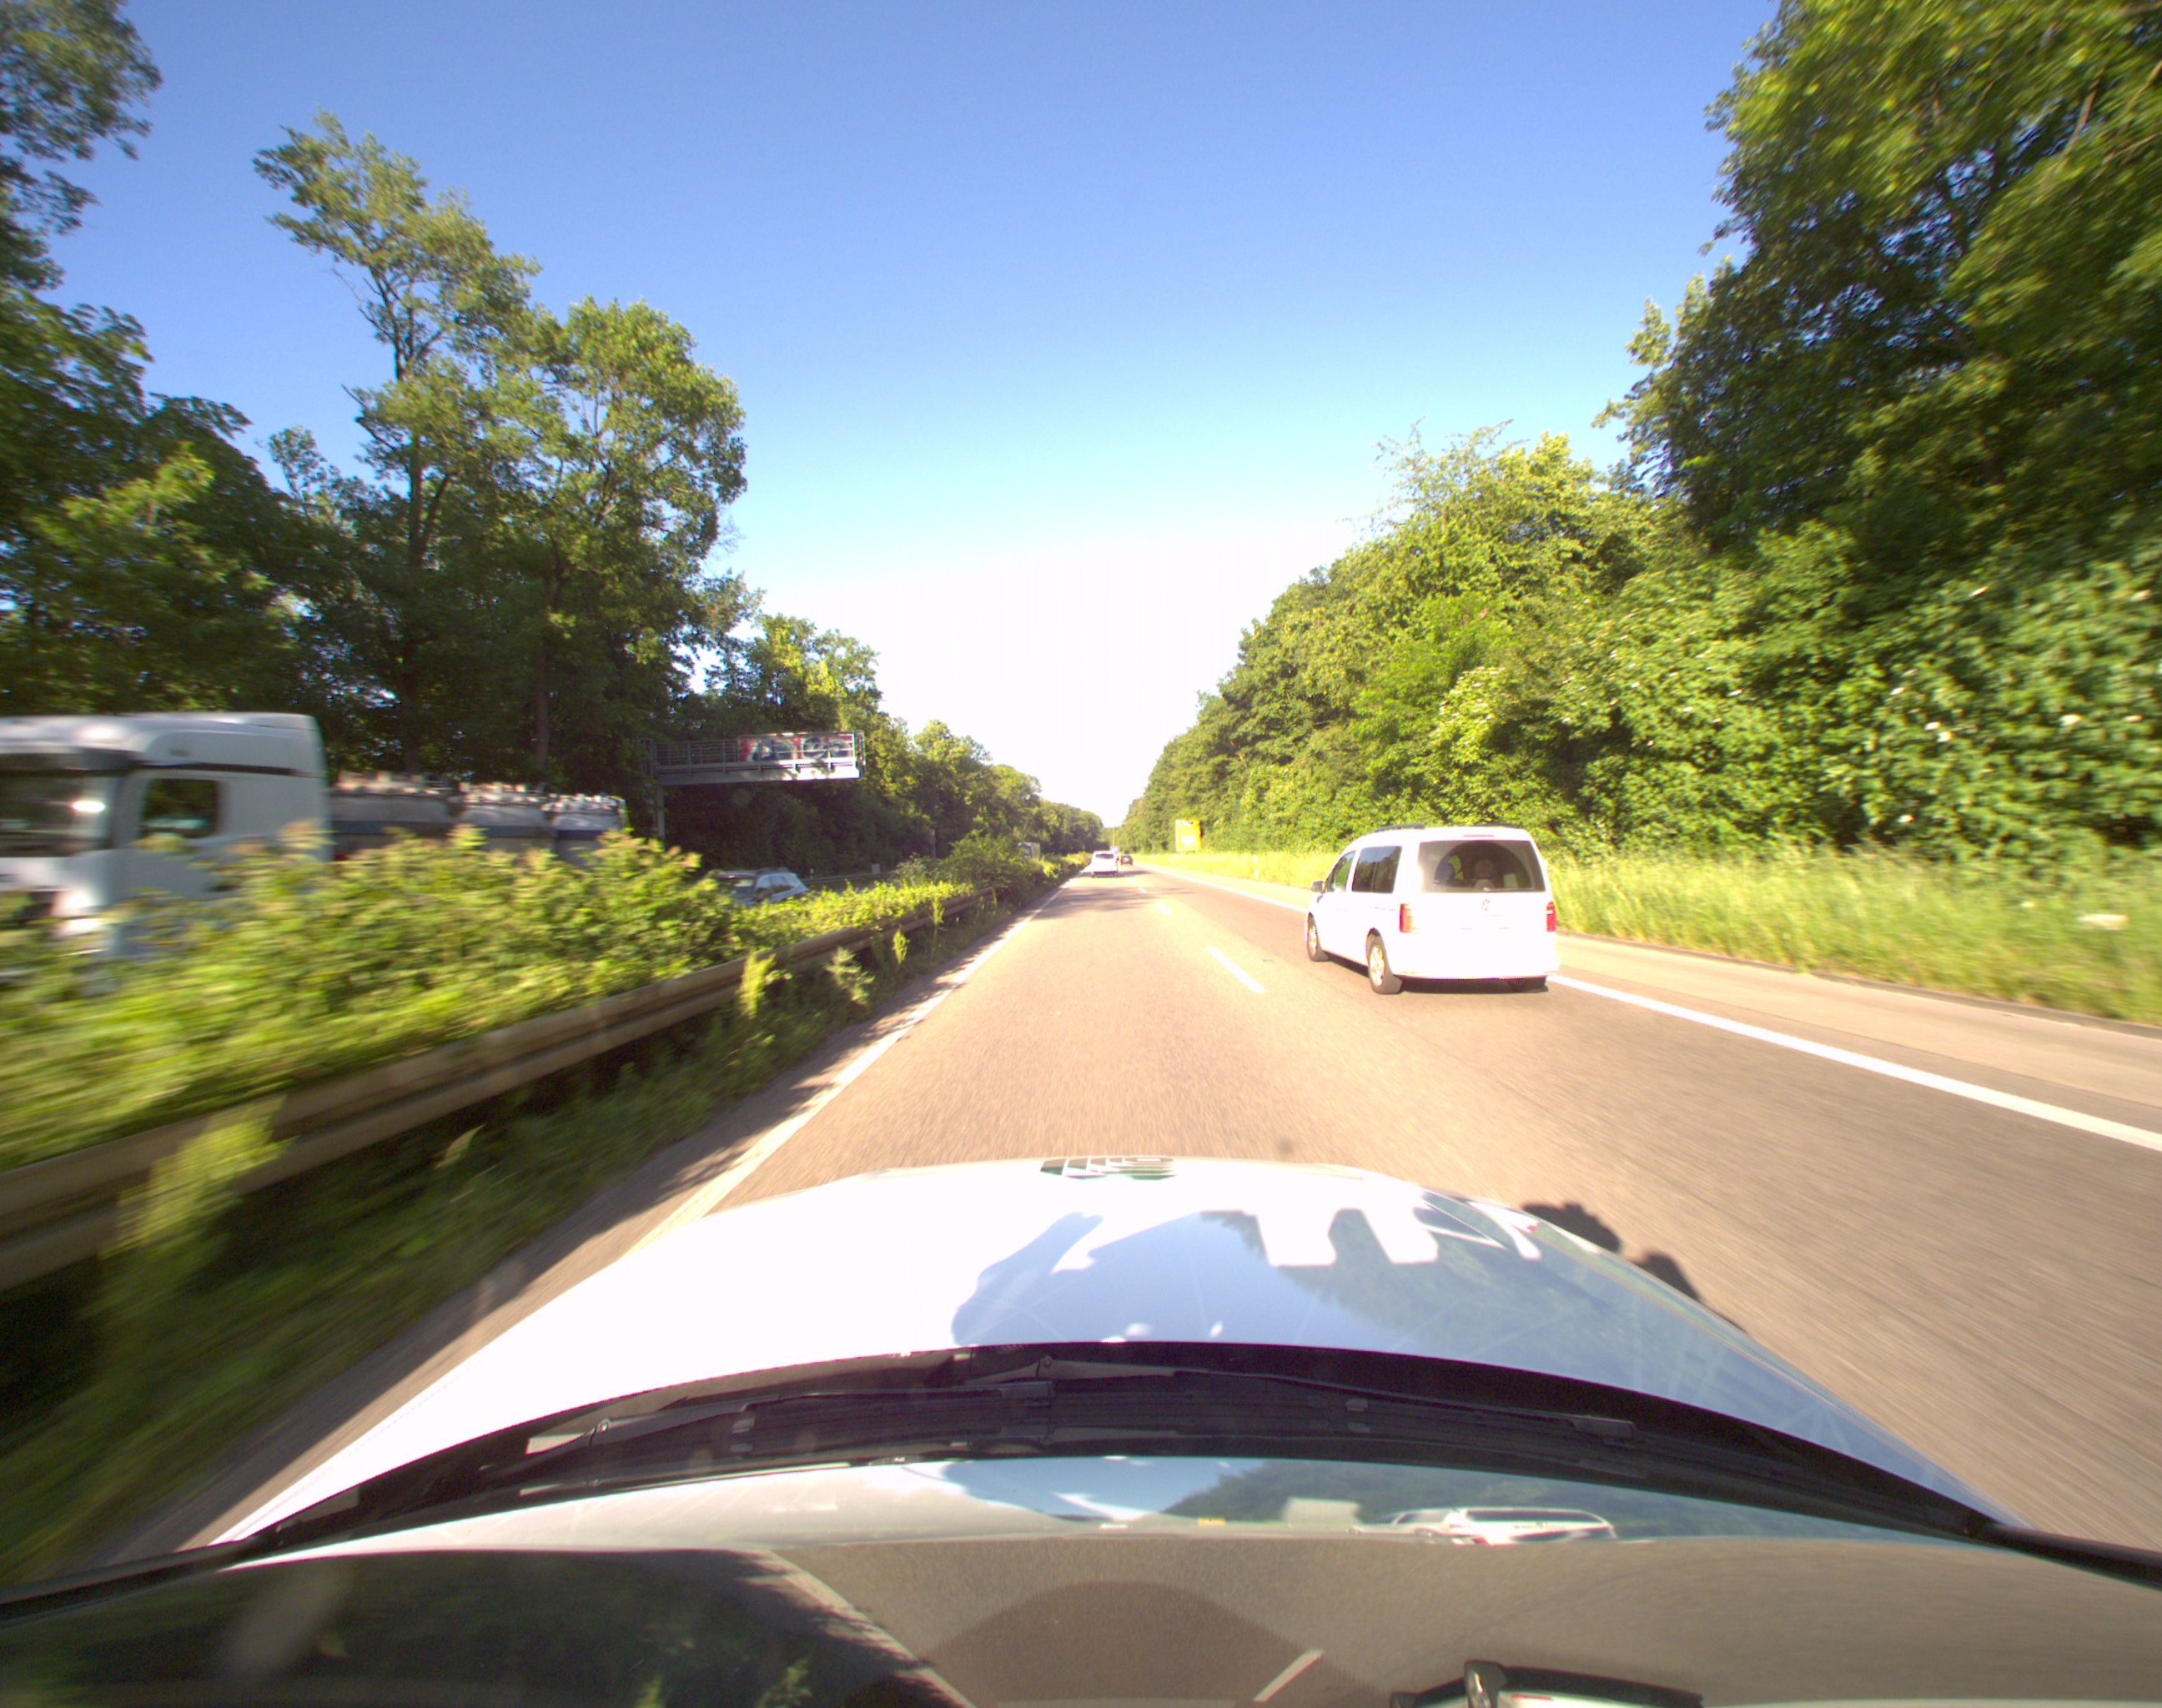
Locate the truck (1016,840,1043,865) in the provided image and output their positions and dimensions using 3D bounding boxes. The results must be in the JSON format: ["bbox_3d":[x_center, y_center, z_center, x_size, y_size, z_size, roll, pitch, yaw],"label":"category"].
[{"bbox_3d":[-8.490,-0.225,135.756,3.231,4.013,14.455,0,0,1],"label":"truck"}]

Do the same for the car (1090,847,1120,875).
[{"bbox_3d":[1.621,0.484,56.193,1.944,1.782,4.588,0,-1,1],"label":"car"}]

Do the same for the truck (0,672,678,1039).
[{"bbox_3d":[-11.576,0.068,14.521,2.759,3.955,11.471,0,-1,2],"label":"truck"}]

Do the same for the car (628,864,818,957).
[{"bbox_3d":[-7.259,1.060,17.137,1.789,1.669,4.700,0,-1,2],"label":"car"}]

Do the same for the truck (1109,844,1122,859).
[{"bbox_3d":[9.785,-0.676,233.405,3.720,4.343,9.307,0,-1,2],"label":"truck"}]

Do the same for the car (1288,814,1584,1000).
[{"bbox_3d":[4.052,0.535,10.261,1.792,1.813,4.588,0,-1,1],"label":"car"}]

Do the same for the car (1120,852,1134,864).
[{"bbox_3d":[6.858,0.557,121.855,1.944,1.782,4.588,0,-1,1],"label":"car"}]

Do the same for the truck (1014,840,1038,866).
[{"bbox_3d":[-8.677,-0.225,128.746,3.217,4.013,5.678,0,0,1],"label":"truck"}]
